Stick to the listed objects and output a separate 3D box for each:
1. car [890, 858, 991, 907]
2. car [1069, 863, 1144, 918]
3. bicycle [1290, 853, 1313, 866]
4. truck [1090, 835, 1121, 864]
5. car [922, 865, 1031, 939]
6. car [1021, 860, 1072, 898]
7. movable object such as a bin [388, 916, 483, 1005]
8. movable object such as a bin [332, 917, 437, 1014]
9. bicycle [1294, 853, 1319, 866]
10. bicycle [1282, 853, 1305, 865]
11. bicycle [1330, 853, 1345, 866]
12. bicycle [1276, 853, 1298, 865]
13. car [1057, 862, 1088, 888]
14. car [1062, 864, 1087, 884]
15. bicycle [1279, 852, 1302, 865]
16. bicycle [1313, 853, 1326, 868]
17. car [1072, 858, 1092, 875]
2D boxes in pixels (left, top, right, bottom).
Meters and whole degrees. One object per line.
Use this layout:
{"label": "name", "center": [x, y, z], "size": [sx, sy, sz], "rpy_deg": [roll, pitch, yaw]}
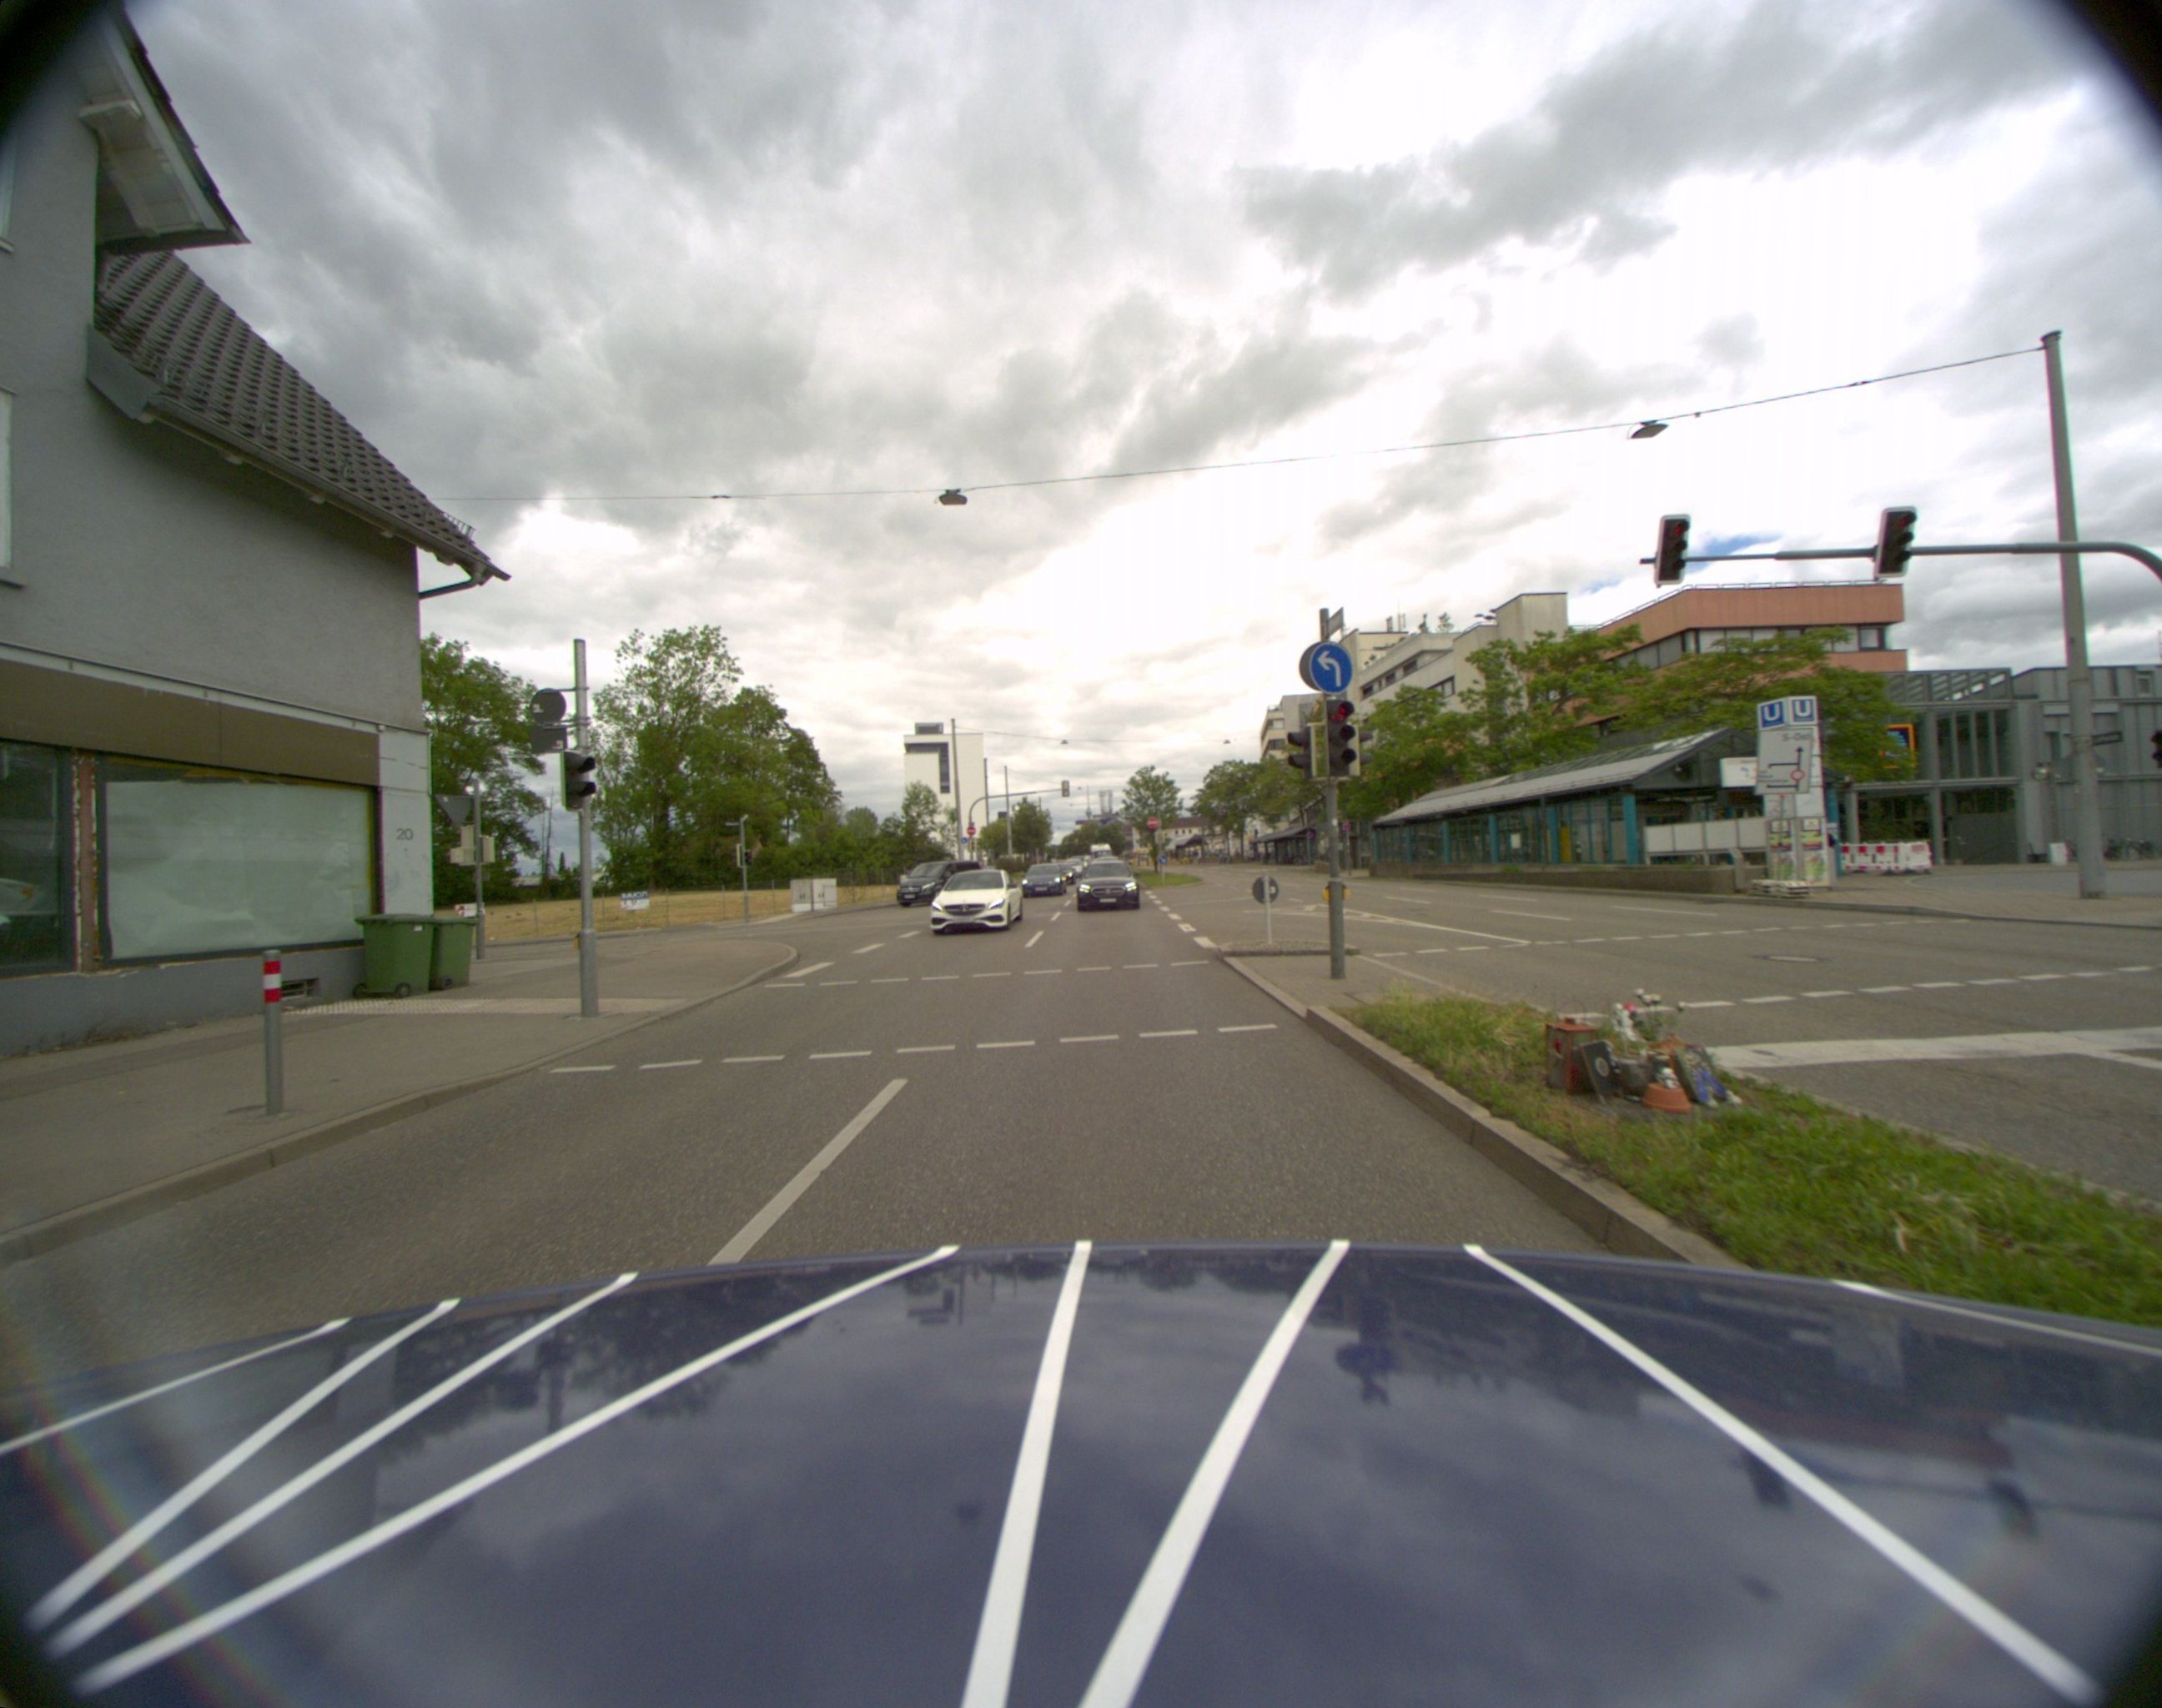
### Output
{"label": "car", "center": [-6.146, 1.205, 33.886], "size": [2.012, 1.876, 4.882], "rpy_deg": [-2, 0, 23]}
{"label": "car", "center": [0.918, 1.071, 24.059], "size": [2.057, 1.477, 4.975], "rpy_deg": [-3, -1, 4]}
{"label": "bicycle", "center": [21.298, 0.493, 73.391], "size": [2.070, 1.132, 0.542], "rpy_deg": [-4, 1, -4]}
{"label": "truck", "center": [2.927, -0.510, 91.888], "size": [3.119, 3.209, 6.522], "rpy_deg": [-3, 0, -3]}
{"label": "car", "center": [-2.461, 1.100, 19.096], "size": [1.798, 1.464, 4.700], "rpy_deg": [-2, 0, 3]}
{"label": "car", "center": [-1.510, 1.073, 34.638], "size": [1.798, 1.464, 4.311], "rpy_deg": [-4, 0, 3]}
{"label": "movable object such as a bin", "center": [-8.787, 1.434, 10.369], "size": [0.628, 1.097, 0.710], "rpy_deg": [-3, 0, 1]}
{"label": "movable object such as a bin", "center": [-8.807, 1.393, 9.633], "size": [0.610, 1.097, 0.710], "rpy_deg": [-3, 0, 1]}
{"label": "bicycle", "center": [21.554, 0.483, 72.623], "size": [2.206, 1.084, 0.542], "rpy_deg": [-4, 1, -4]}
{"label": "bicycle", "center": [21.178, 0.477, 75.650], "size": [2.069, 1.084, 0.542], "rpy_deg": [-4, 1, 1]}
{"label": "bicycle", "center": [20.798, 0.463, 61.579], "size": [0.521, 1.021, 2.051], "rpy_deg": [-4, 0, 3]}
{"label": "bicycle", "center": [21.043, 0.476, 77.714], "size": [2.069, 1.084, 0.542], "rpy_deg": [-4, 1, 1]}
{"label": "car", "center": [-0.613, 1.314, 49.085], "size": [1.769, 1.440, 4.419], "rpy_deg": [-2, 0, -3]}
{"label": "car", "center": [-0.538, 1.699, 65.323], "size": [1.798, 1.464, 4.311], "rpy_deg": [-2, 0, 3]}
{"label": "bicycle", "center": [21.176, 0.424, 76.791], "size": [2.069, 1.132, 0.542], "rpy_deg": [-4, 1, 1]}
{"label": "bicycle", "center": [19.290, 0.524, 61.487], "size": [0.521, 1.217, 1.949], "rpy_deg": [-4, 0, 3]}
{"label": "car", "center": [0.115, 1.314, 83.292], "size": [2.020, 1.759, 4.000], "rpy_deg": [-2, 0, 0]}
